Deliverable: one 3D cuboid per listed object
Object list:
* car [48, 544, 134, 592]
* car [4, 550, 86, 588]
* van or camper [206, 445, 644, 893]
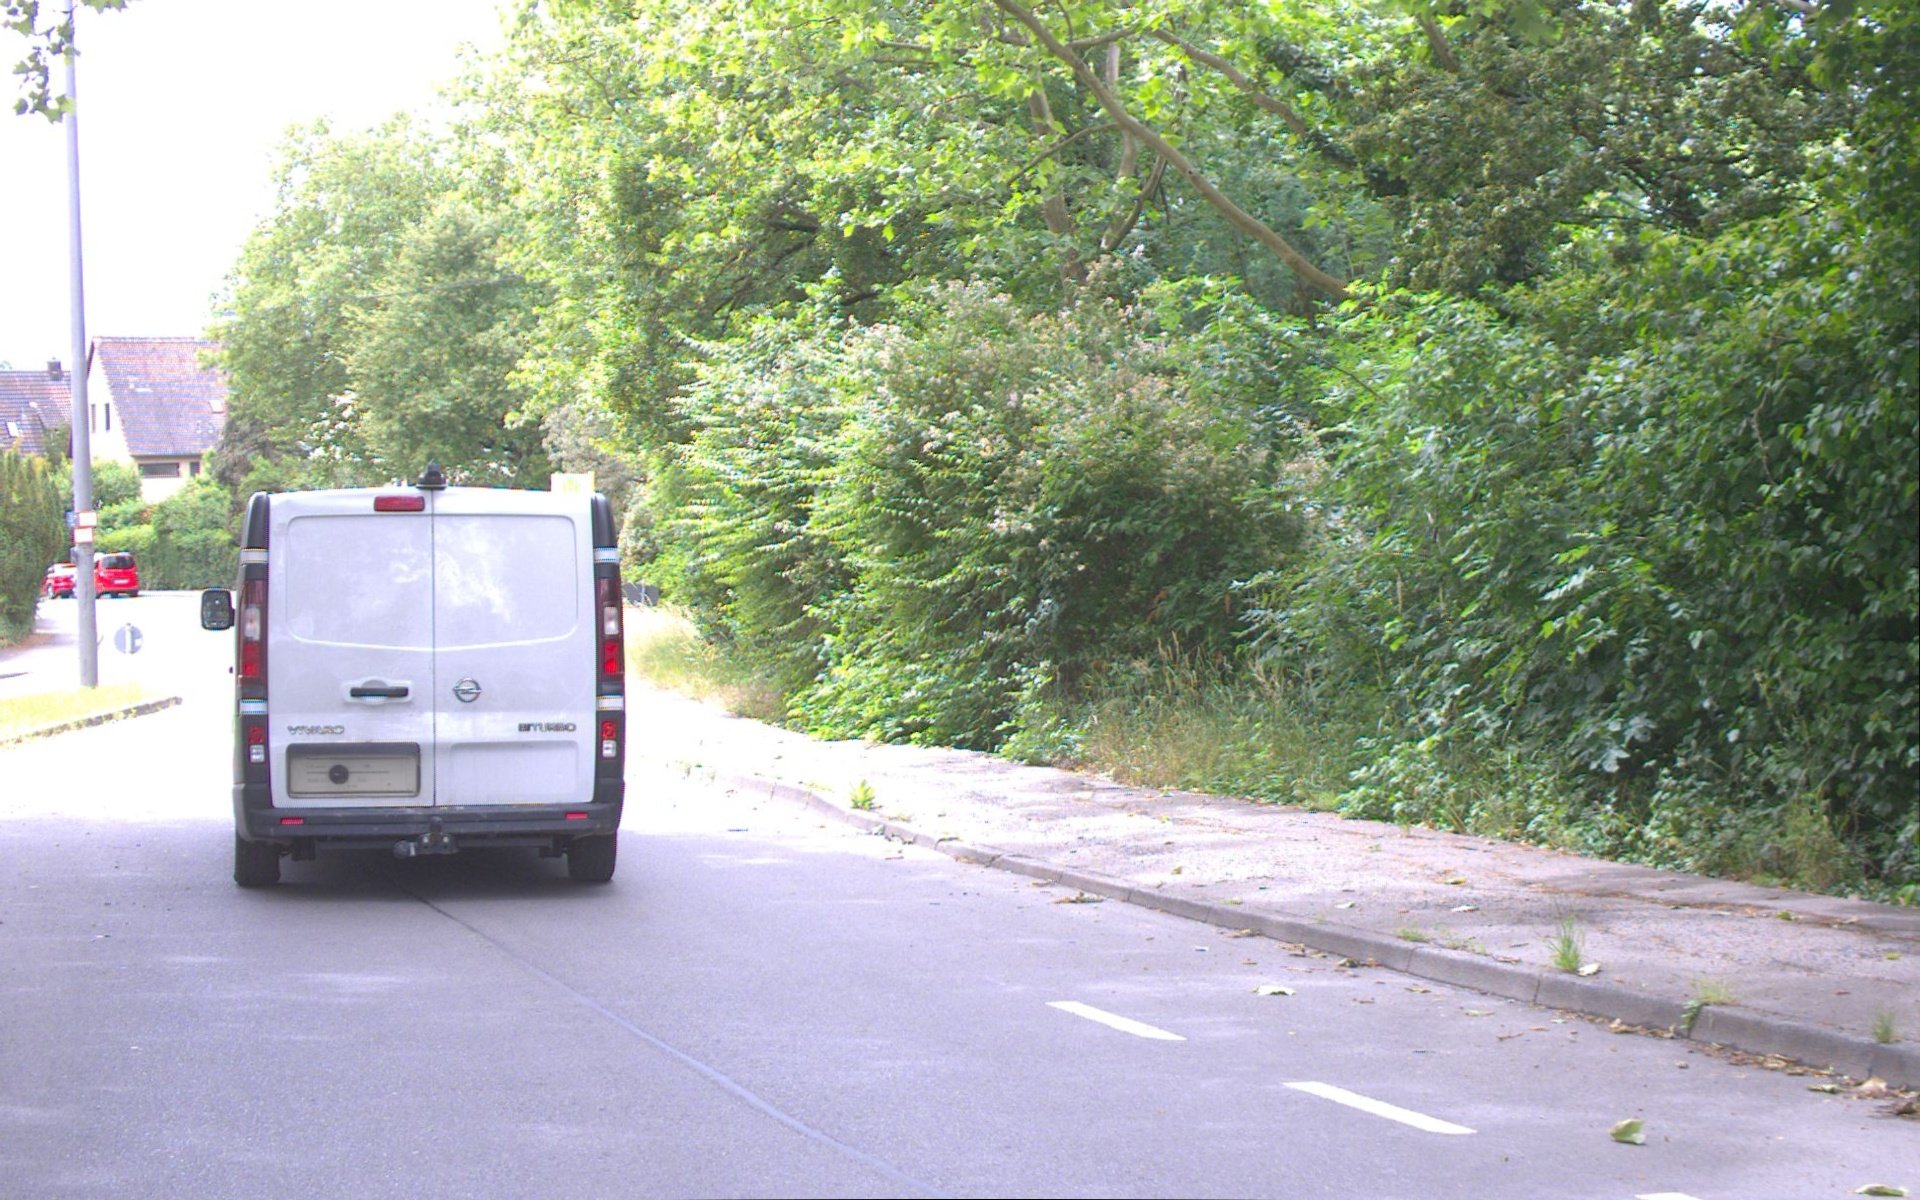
[{"bbox_3d":[-34.068,-1.277,134.700,1.761,1.791,4.948,-2,2,-33],"label":"car"},{"bbox_3d":[-37.042,-1.249,139.156,1.713,1.462,4.267,-3,2,-37],"label":"car"},{"bbox_3d":[-2.955,0.200,18.132,1.923,2.006,4.831,-1,3,-13],"label":"van or camper"}]
